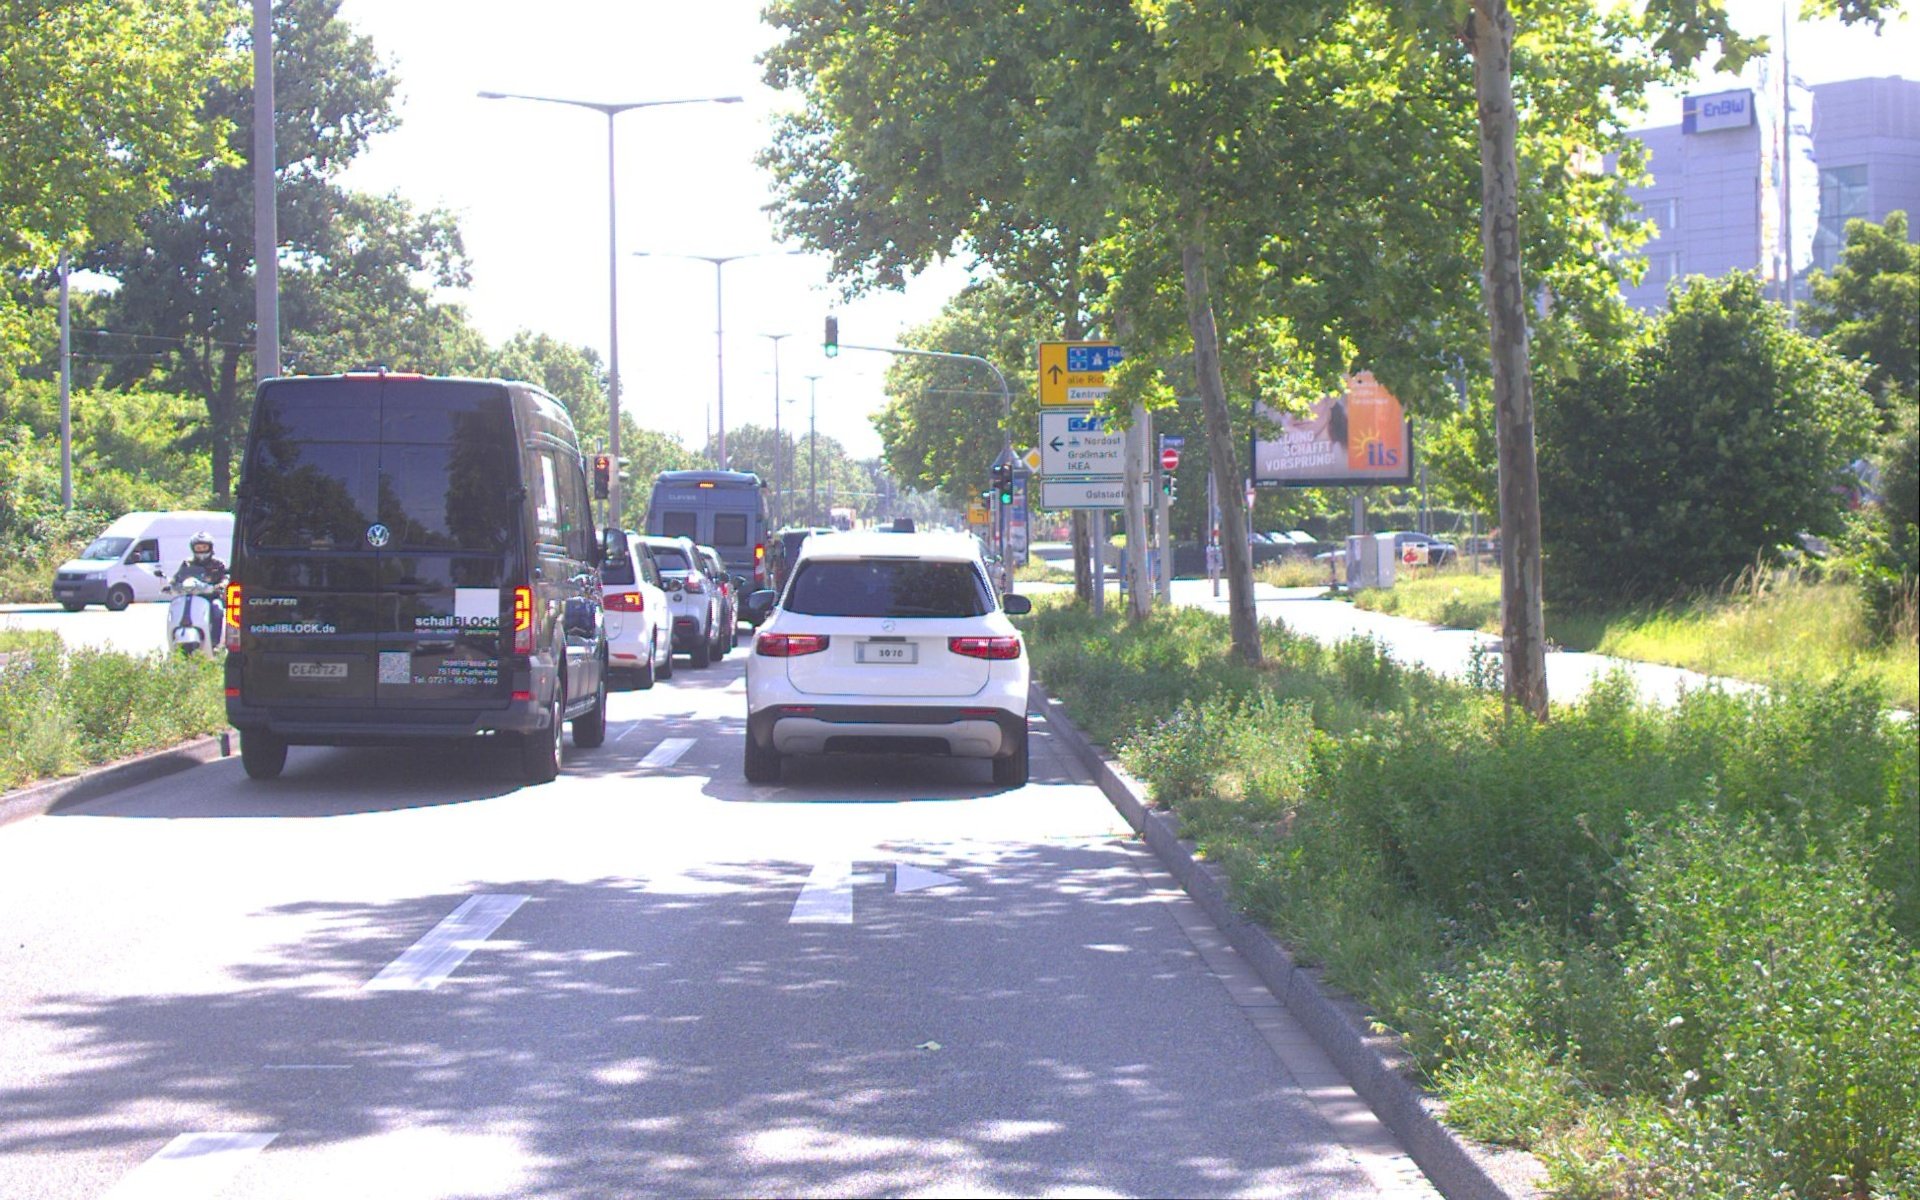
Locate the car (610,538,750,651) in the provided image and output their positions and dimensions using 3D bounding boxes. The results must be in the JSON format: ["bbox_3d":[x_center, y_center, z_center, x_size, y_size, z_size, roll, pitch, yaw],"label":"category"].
[{"bbox_3d":[-3.931,-0.110,48.799,1.691,1.499,3.886,1,1,-1],"label":"car"}]

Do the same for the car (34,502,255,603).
[{"bbox_3d":[-19.997,-1.171,84.489,1.998,2.410,5.128,1,1,38],"label":"car"}]

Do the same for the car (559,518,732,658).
[{"bbox_3d":[-3.861,-0.164,42.740,1.771,1.641,4.085,1,1,0],"label":"car"}]

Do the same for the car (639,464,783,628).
[{"bbox_3d":[-4.210,-0.921,58.765,2.081,2.647,4.874,1,1,0],"label":"car"}]

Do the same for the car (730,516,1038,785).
[{"bbox_3d":[-0.571,0.279,23.373,1.853,1.602,4.001,2,1,-3],"label":"car"}]

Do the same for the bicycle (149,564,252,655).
[{"bbox_3d":[-8.957,0.100,40.620,0.728,1.025,2.217,1,1,-1],"label":"bicycle"}]

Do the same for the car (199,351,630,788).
[{"bbox_3d":[-3.572,-0.224,23.734,2.016,2.598,6.169,1,1,0],"label":"car"}]

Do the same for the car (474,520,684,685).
[{"bbox_3d":[-4.012,-0.006,36.781,1.771,1.641,4.352,1,1,0],"label":"car"}]

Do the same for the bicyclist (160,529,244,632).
[{"bbox_3d":[-8.953,-0.232,40.626,0.728,1.186,1.102,1,1,-1],"label":"bicyclist"}]

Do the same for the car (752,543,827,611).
[{"bbox_3d":[-3.615,-0.504,73.218,1.464,1.399,3.477,1,1,-1],"label":"car"}]
